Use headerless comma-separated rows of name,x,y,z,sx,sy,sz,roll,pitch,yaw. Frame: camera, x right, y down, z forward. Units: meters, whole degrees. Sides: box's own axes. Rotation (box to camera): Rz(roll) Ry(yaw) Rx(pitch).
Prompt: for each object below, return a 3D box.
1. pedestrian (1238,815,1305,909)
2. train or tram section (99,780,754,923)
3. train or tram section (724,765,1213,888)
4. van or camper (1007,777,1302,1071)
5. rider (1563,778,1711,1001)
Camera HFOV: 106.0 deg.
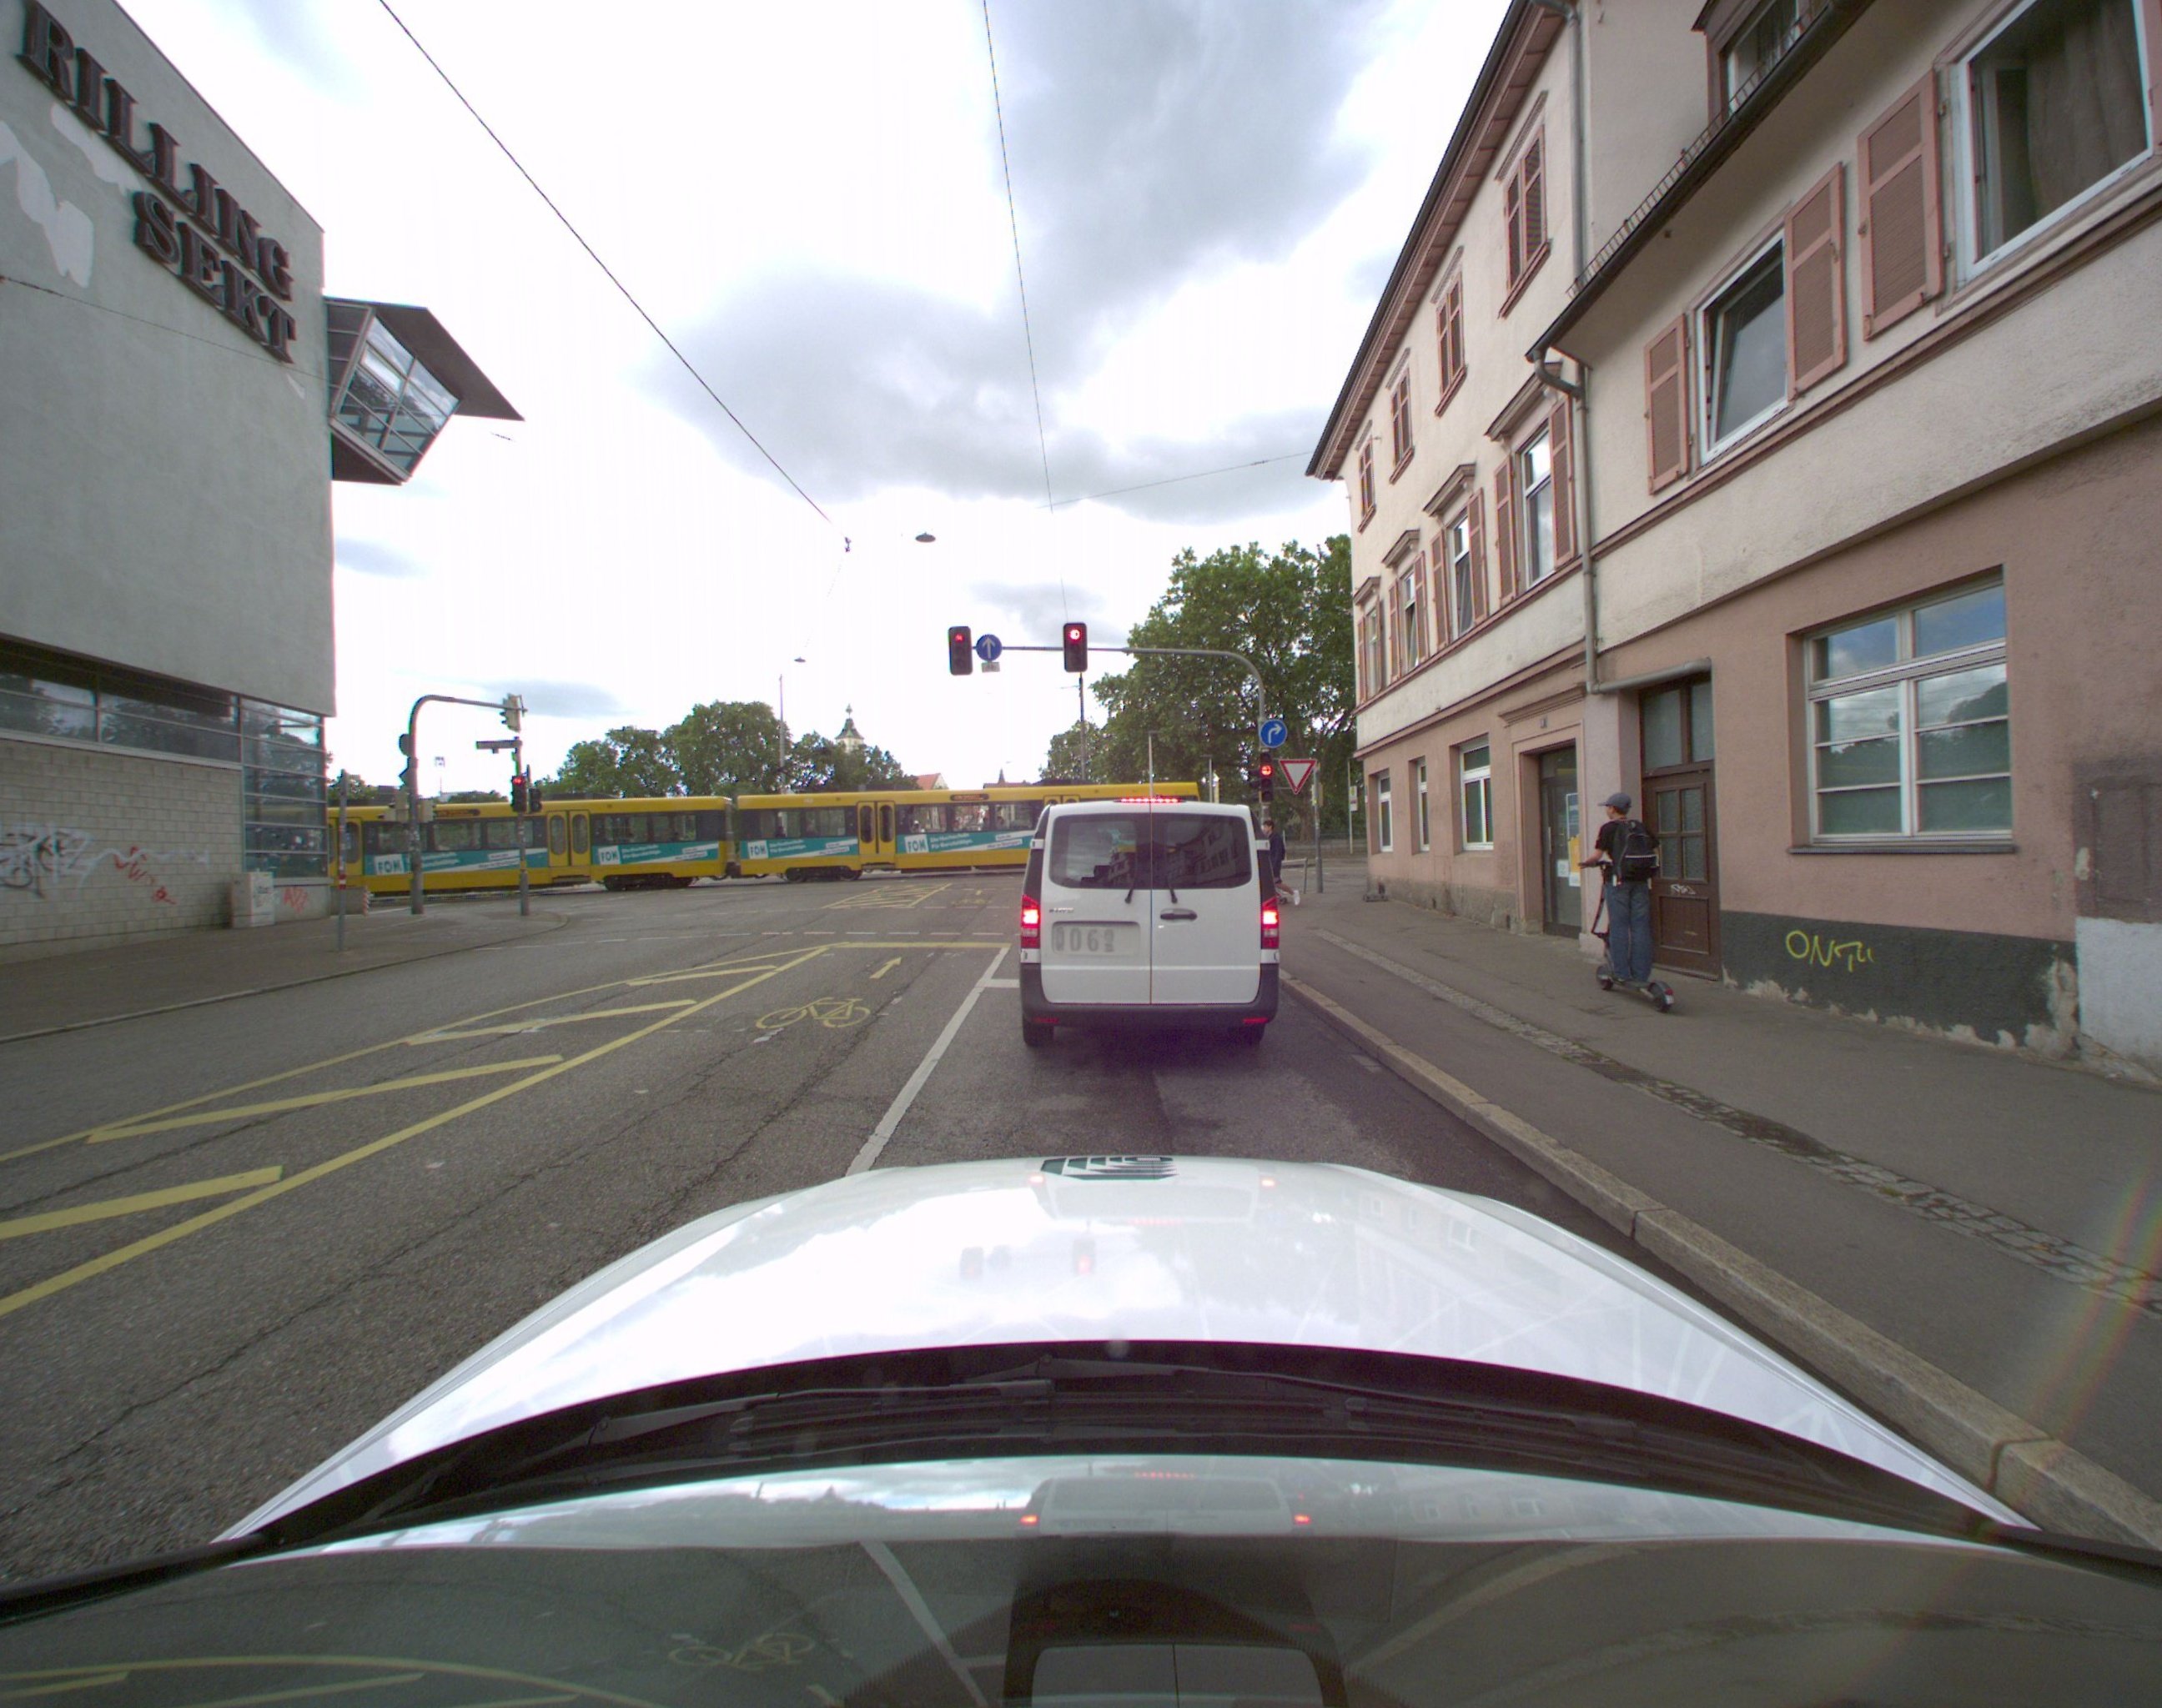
pedestrian,3.974,0.153,16.971,1.158,1.856,0.672,-3,1,-33
train or tram section,-22.772,-0.313,30.205,19.239,4.002,3.296,-3,2,-12
train or tram section,-4.179,-1.235,33.377,18.752,4.002,3.258,-3,3,-7
van or camper,0.475,0.433,7.581,1.932,1.924,4.440,0,1,-1
rider,4.890,0.296,7.216,0.715,1.847,0.798,-2,0,1
